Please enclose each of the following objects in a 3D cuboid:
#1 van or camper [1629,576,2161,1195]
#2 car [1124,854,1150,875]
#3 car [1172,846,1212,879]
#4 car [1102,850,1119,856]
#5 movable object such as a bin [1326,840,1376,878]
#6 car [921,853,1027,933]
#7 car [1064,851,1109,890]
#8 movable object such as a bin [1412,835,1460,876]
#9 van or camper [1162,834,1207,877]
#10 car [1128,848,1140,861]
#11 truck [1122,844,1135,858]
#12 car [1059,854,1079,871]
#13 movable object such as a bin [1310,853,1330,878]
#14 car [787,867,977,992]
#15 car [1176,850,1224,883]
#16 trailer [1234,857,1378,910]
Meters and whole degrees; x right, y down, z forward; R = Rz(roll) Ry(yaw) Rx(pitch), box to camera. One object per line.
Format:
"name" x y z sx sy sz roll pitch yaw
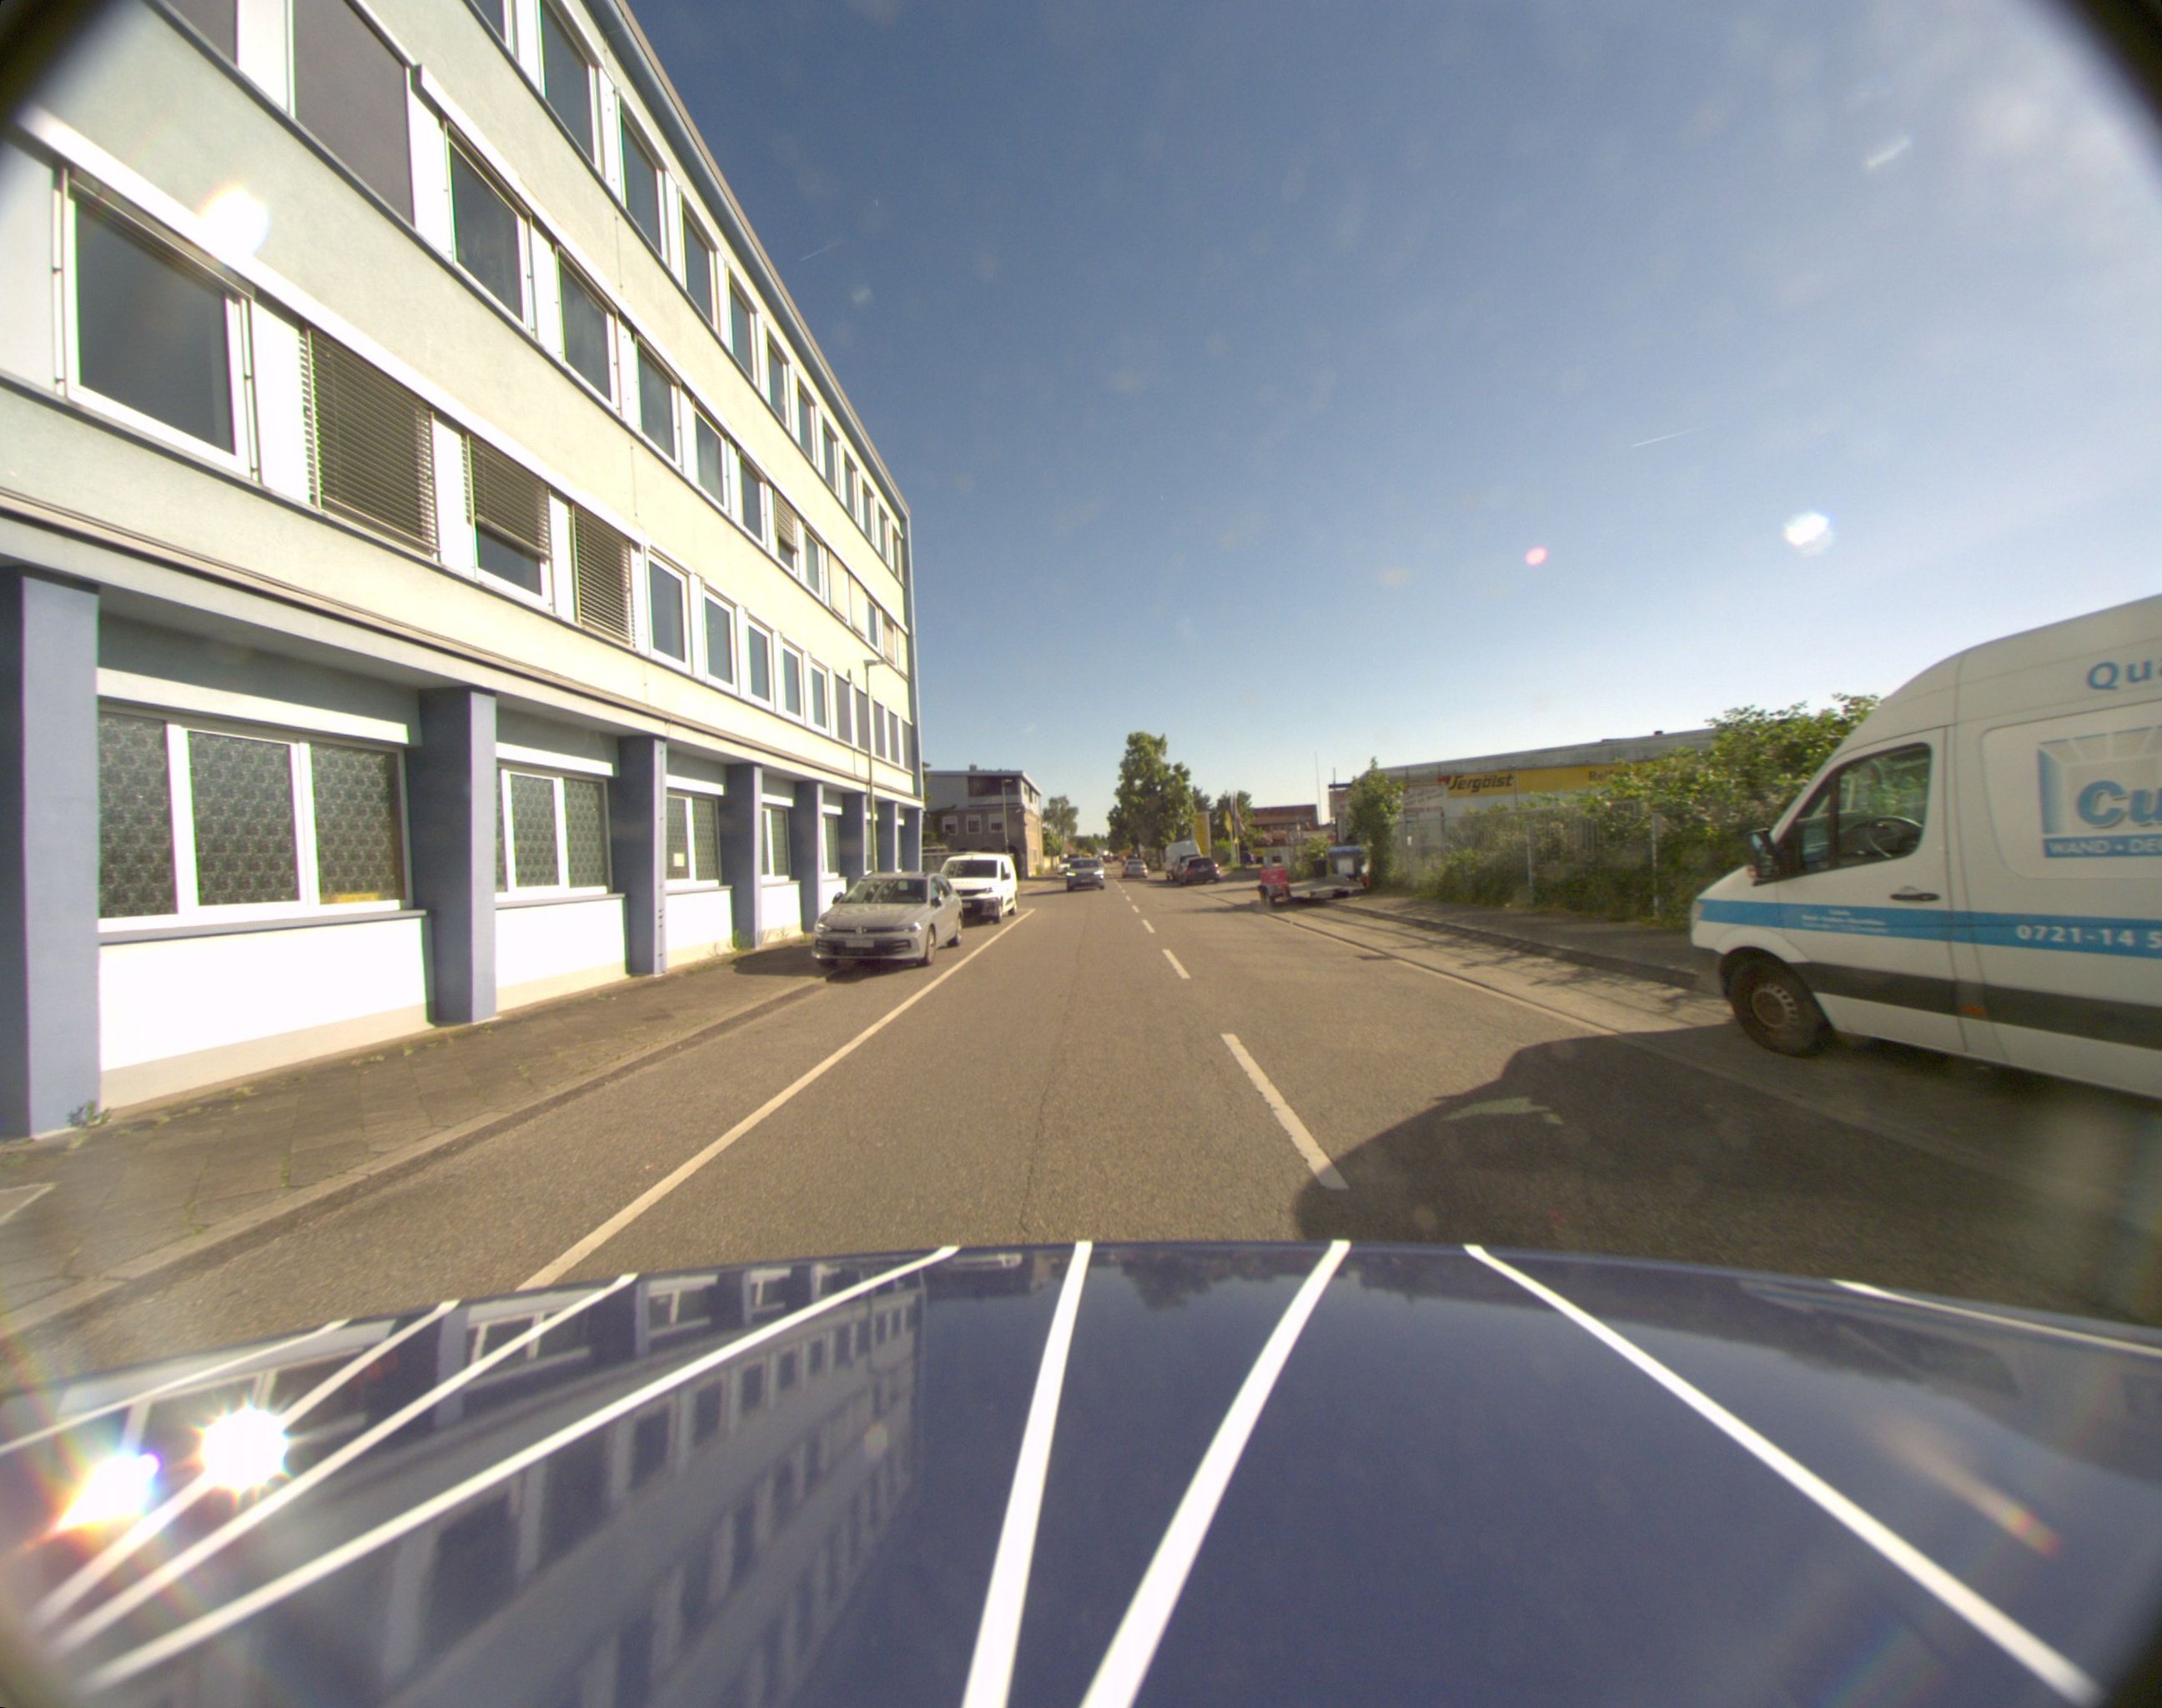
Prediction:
"van or camper" 5.575 0.051 3.324 1.971 2.669 5.948 -8 0 3
"car" 4.301 0.776 59.034 1.751 1.439 4.360 -3 0 1
"car" 6.808 0.511 46.956 1.998 1.728 4.576 -7 0 4
"car" 6.513 -0.212 168.770 1.871 1.412 4.539 -1 0 30
"movable object such as a bin" 10.574 0.195 29.716 1.620 1.397 1.097 -3 1 29
"car" -2.809 0.956 21.127 1.893 1.821 5.091 -4 0 3
"car" 0.310 0.777 38.525 1.998 1.750 5.016 -4 0 1
"movable object such as a bin" 13.069 0.061 27.932 1.462 1.397 1.097 -3 1 29
"van or camper" 7.028 0.091 52.499 2.075 2.534 6.404 -7 0 1
"car" 8.645 0.055 124.556 1.779 1.838 4.616 -5 0 4
"truck" 9.774 -0.647 156.138 2.173 2.698 5.749 -5 1 2
"car" -1.219 0.883 79.956 1.937 1.635 4.769 -3 0 0
"movable object such as a bin" 9.589 0.461 30.502 0.615 0.967 0.750 -2 2 26
"car" -3.201 1.129 13.425 1.894 1.551 5.090 -4 0 0
"car" 6.448 0.629 41.683 1.804 1.501 5.003 -7 0 2
"trailer" 6.321 0.774 22.363 2.382 1.073 6.246 -7 -1 1
